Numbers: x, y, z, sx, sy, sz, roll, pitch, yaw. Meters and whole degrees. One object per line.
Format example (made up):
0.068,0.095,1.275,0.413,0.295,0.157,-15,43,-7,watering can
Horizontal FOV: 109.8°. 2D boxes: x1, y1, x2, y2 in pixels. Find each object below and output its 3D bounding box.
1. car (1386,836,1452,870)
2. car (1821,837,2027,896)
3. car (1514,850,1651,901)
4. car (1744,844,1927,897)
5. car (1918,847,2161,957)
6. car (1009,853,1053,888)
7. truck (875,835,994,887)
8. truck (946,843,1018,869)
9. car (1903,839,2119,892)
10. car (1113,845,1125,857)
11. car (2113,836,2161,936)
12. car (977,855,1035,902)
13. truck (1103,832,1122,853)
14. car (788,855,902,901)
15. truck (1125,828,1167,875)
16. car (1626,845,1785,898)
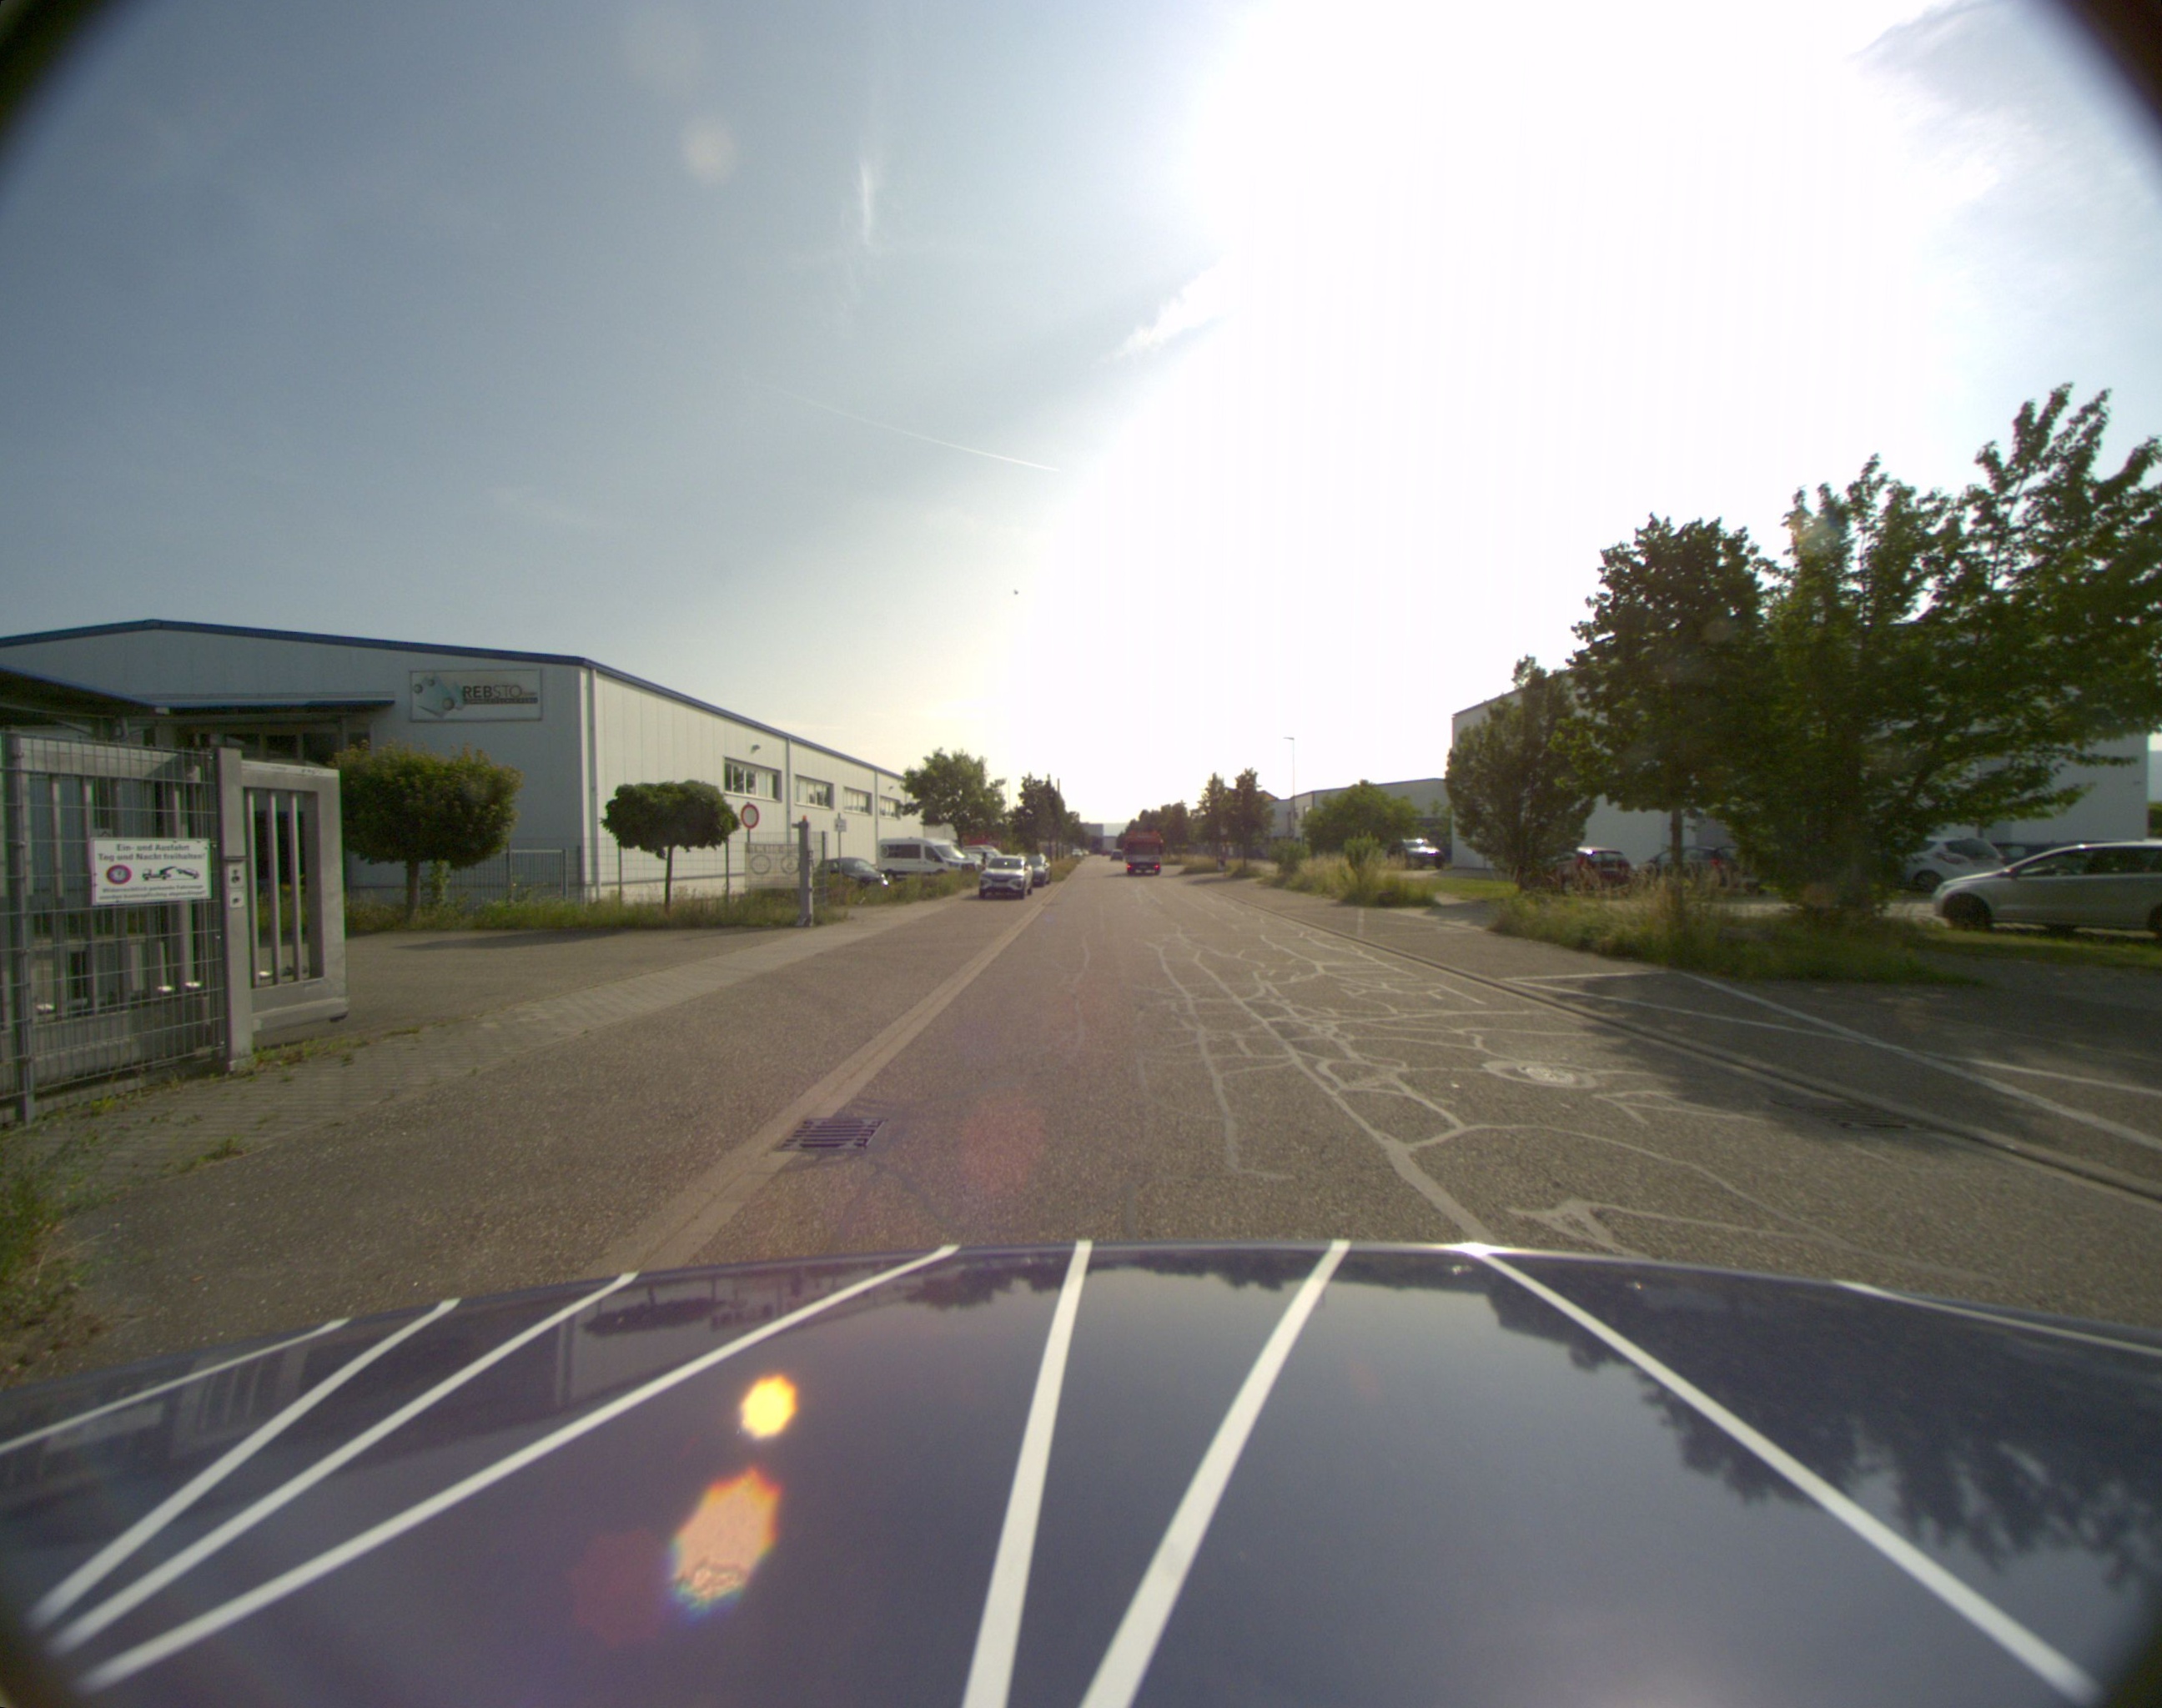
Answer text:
19.778,-0.075,44.729,1.998,1.827,4.695,-1,1,3,car
25.080,0.324,22.846,1.910,1.609,3.918,-1,1,2,car
15.279,0.603,23.407,1.758,1.401,3.918,-1,1,3,car
22.662,0.434,23.056,1.758,1.459,3.918,-1,1,3,car
15.338,0.629,11.151,1.790,1.441,3.917,-1,1,0,car
-2.281,0.716,35.417,1.694,1.495,3.541,1,1,1,car
-7.657,0.317,39.430,6.194,2.516,2.280,0,1,34,truck
-8.003,0.155,60.820,5.815,2.010,2.280,0,1,39,truck
27.651,0.297,22.820,1.758,1.459,3.918,-1,1,3,car
5.370,-0.445,107.941,1.668,1.495,3.540,-1,2,1,car
18.335,0.520,10.531,1.947,1.597,4.509,-1,1,1,car
-2.616,0.825,27.277,1.668,1.495,3.541,1,1,1,car
6.491,-2.287,156.810,3.412,4.018,10.394,-2,1,1,truck
-8.445,0.797,27.083,3.988,1.489,1.902,0,1,37,car
4.364,-0.178,51.366,2.512,2.817,8.846,2,1,4,truck
18.908,0.478,23.267,1.758,1.459,3.918,-1,1,3,car
